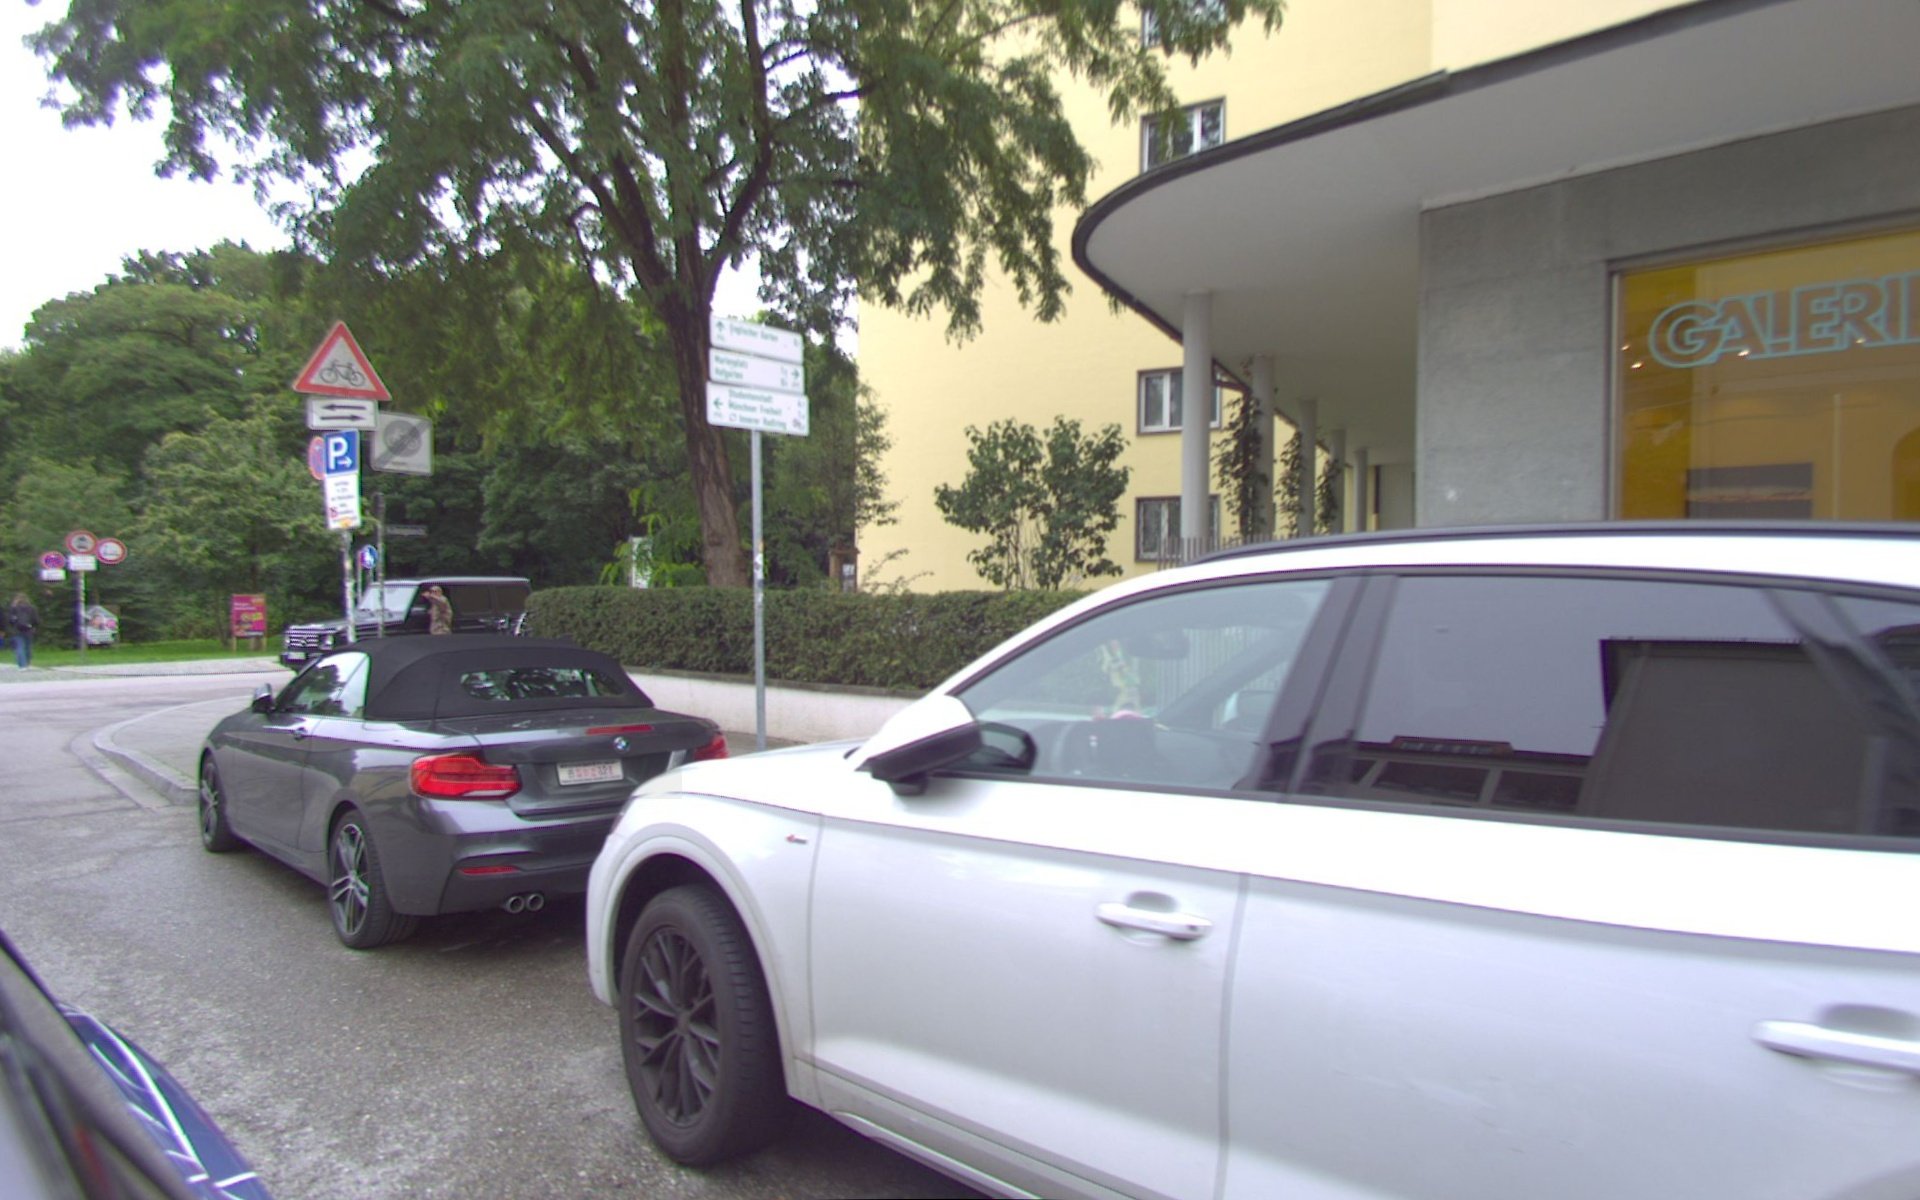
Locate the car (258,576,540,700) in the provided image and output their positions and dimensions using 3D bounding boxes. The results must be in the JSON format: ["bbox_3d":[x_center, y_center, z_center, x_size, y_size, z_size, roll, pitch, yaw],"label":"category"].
[{"bbox_3d":[-10.371,0.597,19.098,1.926,2.016,4.382,1,1,26],"label":"car"}]

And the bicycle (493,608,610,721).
[{"bbox_3d":[-4.901,0.727,12.086,1.854,1.219,0.555,0,1,44],"label":"bicycle"}]

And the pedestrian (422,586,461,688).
[{"bbox_3d":[-9.435,0.665,18.410,0.552,1.812,0.642,-1,-1,-31],"label":"pedestrian"}]

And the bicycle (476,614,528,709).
[{"bbox_3d":[-6.311,0.791,13.910,0.573,1.134,2.305,-2,1,-25],"label":"bicycle"}]

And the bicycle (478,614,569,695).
[{"bbox_3d":[-6.890,0.823,16.078,0.575,1.165,1.952,-2,0,0],"label":"bicycle"}]

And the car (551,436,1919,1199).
[{"bbox_3d":[0.945,0.653,2.389,4.335,1.596,1.784,-2,-2,41],"label":"car"}]

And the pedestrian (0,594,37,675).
[{"bbox_3d":[-21.591,0.791,23.140,0.801,1.795,0.626,-3,-3,41],"label":"pedestrian"}]

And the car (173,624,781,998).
[{"bbox_3d":[-3.033,0.862,5.930,4.095,1.421,1.727,-1,-1,41],"label":"car"}]

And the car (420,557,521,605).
[{"bbox_3d":[-22.157,-0.879,45.989,3.900,2.120,1.911,-1,1,-18],"label":"car"}]
